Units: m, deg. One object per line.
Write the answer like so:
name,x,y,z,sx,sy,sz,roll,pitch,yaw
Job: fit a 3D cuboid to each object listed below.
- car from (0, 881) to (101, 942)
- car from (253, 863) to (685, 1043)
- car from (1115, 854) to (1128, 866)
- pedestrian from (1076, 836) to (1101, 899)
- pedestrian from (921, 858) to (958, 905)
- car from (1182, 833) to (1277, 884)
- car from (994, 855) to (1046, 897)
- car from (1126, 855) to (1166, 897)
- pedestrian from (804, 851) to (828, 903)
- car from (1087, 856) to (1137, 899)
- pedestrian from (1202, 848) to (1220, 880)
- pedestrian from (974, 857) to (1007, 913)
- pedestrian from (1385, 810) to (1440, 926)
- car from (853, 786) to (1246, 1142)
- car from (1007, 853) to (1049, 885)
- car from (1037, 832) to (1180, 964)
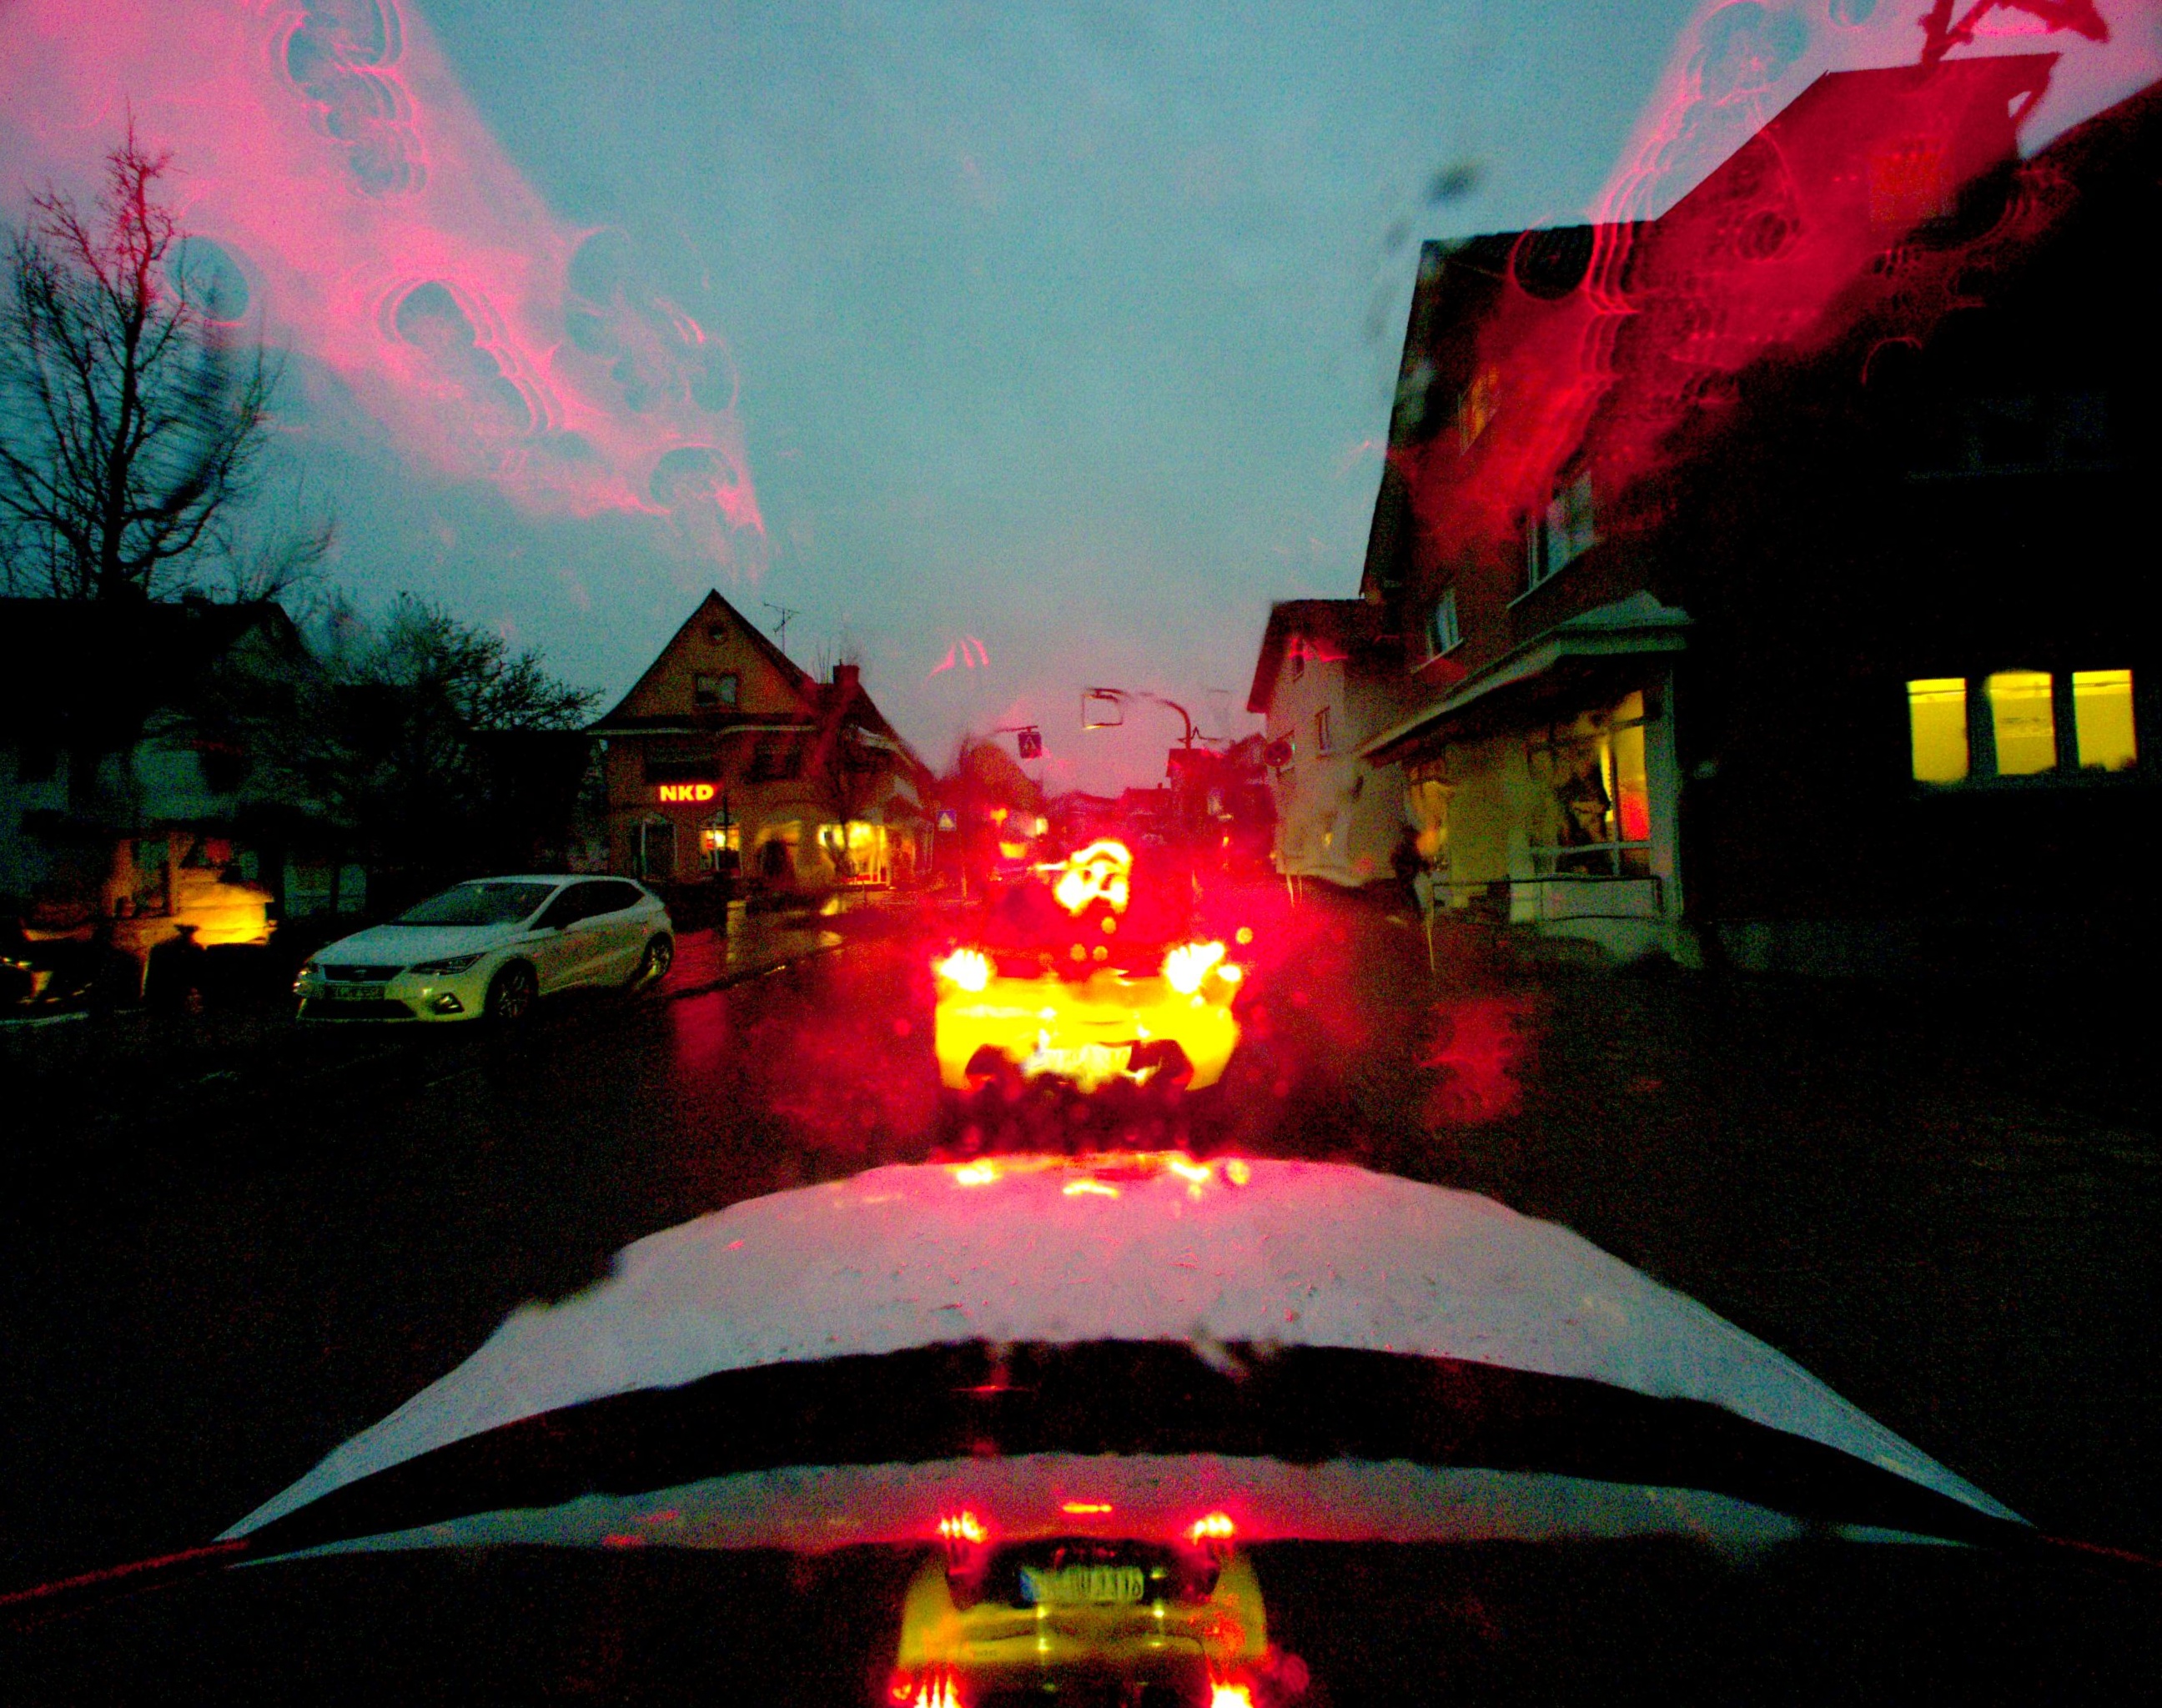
car,-29.331,1.571,21.707,3.894,1.519,1.608,-1,0,-12
car,-6.281,0.877,9.057,1.663,1.516,4.002,0,0,2
car,5.215,0.735,104.975,1.527,1.245,3.651,-6,1,4
pedestrian,0.217,0.399,24.638,0.701,1.876,0.616,0,0,-4
pedestrian,-4.599,0.886,26.582,0.886,1.417,0.777,5,-1,6
car,6.059,0.182,33.563,3.679,2.014,1.691,-1,-1,5
car,-3.044,1.071,41.605,1.985,2.013,4.366,-1,0,4
car,3.358,1.087,42.380,1.637,2.013,3.999,-3,0,-1
pedestrian,-8.923,0.766,27.438,0.586,1.742,0.683,-1,0,-3
car,1.313,0.886,32.945,1.819,1.601,4.586,-1,0,4
pedestrian,8.312,0.647,52.101,1.011,2.014,1.277,-1,0,7
pedestrian,-2.889,0.989,26.203,0.971,1.742,0.960,0,0,-2
pedestrian,5.558,0.233,13.694,0.659,1.888,0.826,-1,-1,8
car,0.018,0.554,6.511,1.984,1.795,4.654,-2,0,5
car,-3.099,0.867,48.526,1.986,1.752,4.363,-1,0,2
car,0.461,0.575,12.308,1.790,1.662,4.003,-1,-1,3
